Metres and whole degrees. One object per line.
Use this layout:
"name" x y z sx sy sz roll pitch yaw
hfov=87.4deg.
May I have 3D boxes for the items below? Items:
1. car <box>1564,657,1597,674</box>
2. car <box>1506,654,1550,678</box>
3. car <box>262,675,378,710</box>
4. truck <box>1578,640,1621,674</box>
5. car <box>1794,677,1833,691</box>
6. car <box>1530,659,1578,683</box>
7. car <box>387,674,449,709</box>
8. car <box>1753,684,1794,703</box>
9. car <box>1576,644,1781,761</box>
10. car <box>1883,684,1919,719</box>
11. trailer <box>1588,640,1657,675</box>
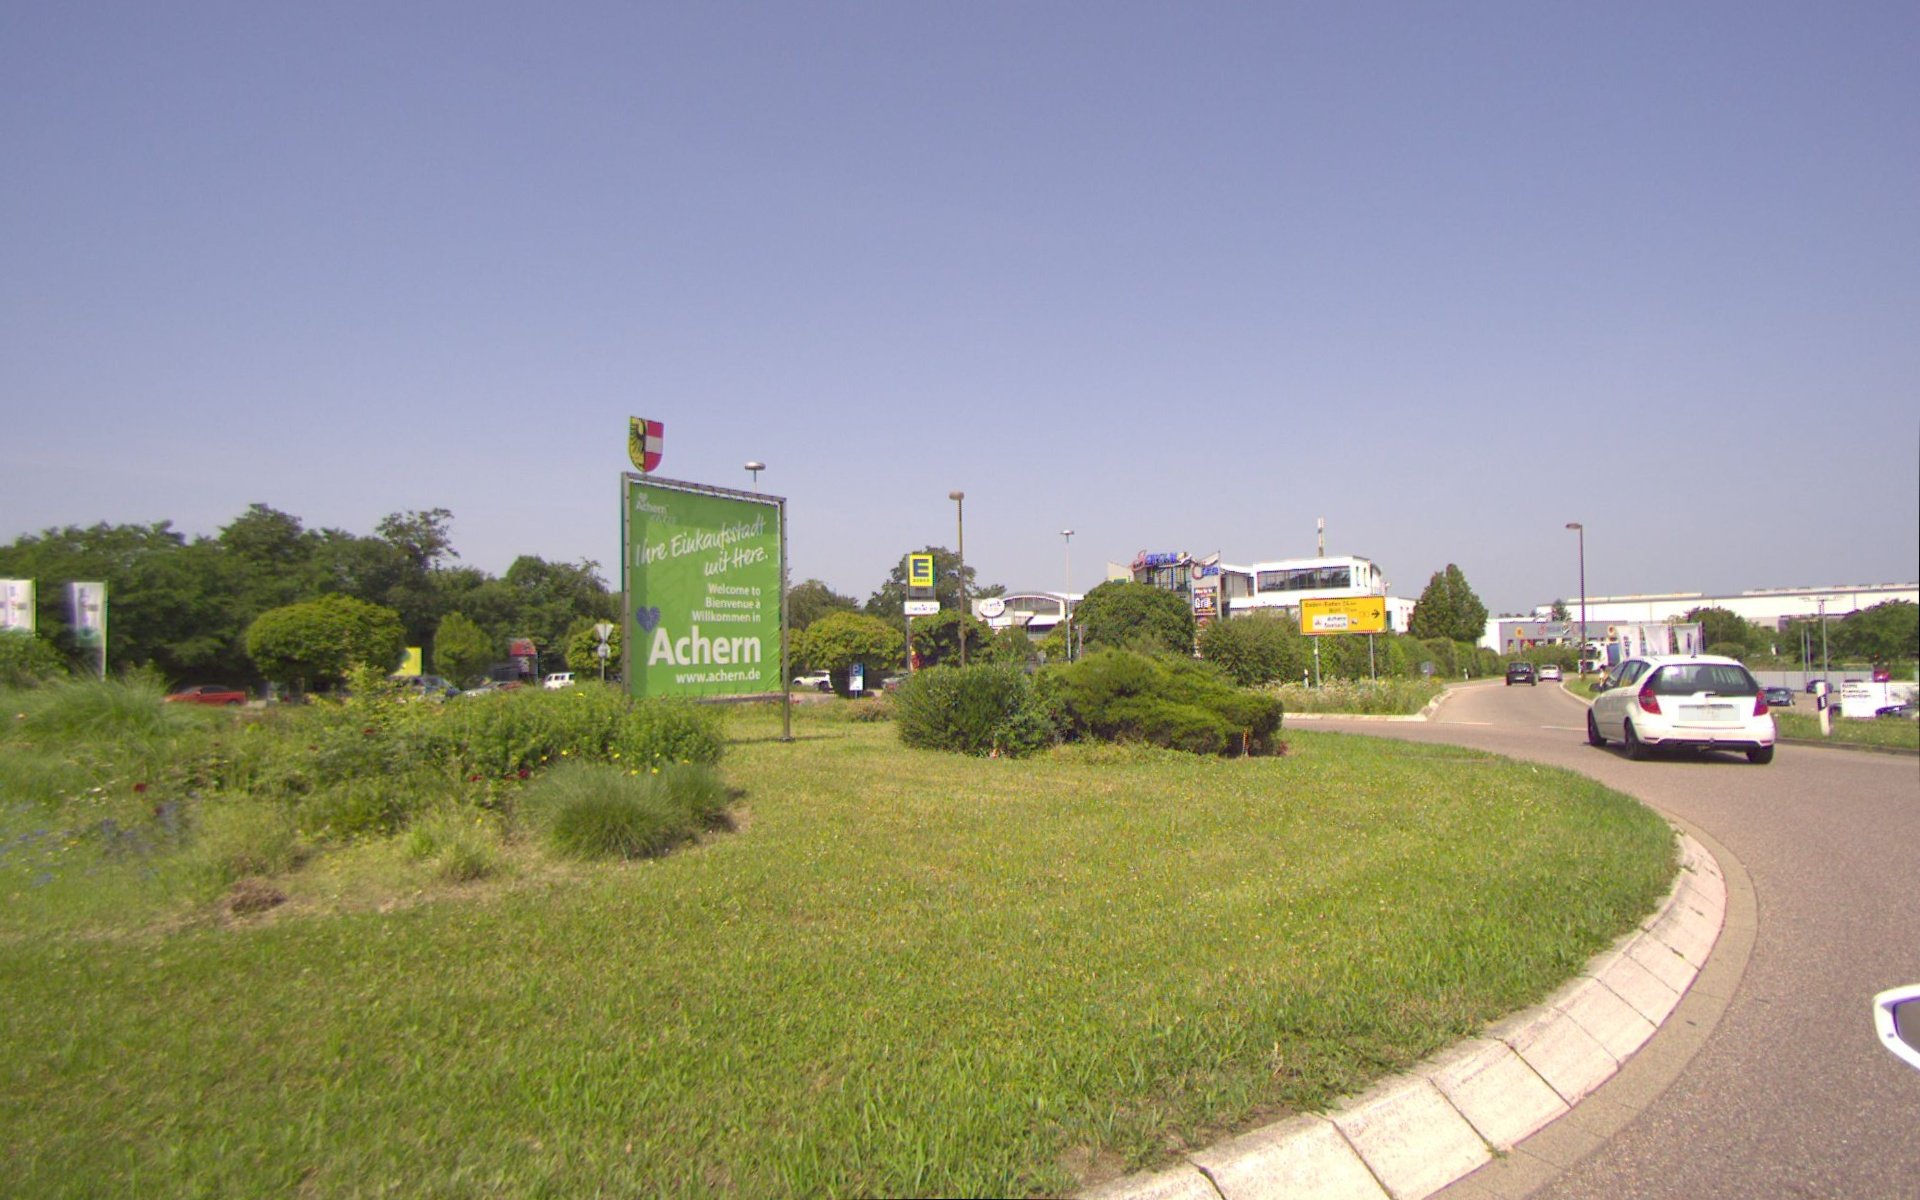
"car" 75.190 7.943 121.752 3.960 2.039 1.981 3 -4 -34
"car" 36.434 4.251 64.362 1.806 1.489 4.392 -2 -4 38
"car" -31.052 4.451 48.859 1.842 1.581 4.402 -1 -4 27
"truck" 82.854 7.409 130.153 6.052 4.312 2.498 3 -5 -35
"car" 87.573 8.610 103.014 3.957 1.416 1.983 3 -4 -33
"car" 53.350 6.355 90.182 3.950 2.039 1.986 3 -4 -28
"car" -25.761 4.327 47.874 1.559 1.517 4.552 2 -4 -16
"car" 66.847 7.649 82.556 4.503 1.476 2.114 4 -5 -45
"car" 11.335 1.582 16.148 1.752 1.624 3.894 -1 -5 22
"car" 45.643 4.690 46.374 3.923 1.571 2.001 -2 -7 23
"trailer" 88.619 7.742 134.206 14.423 4.296 2.653 4 -4 -35
